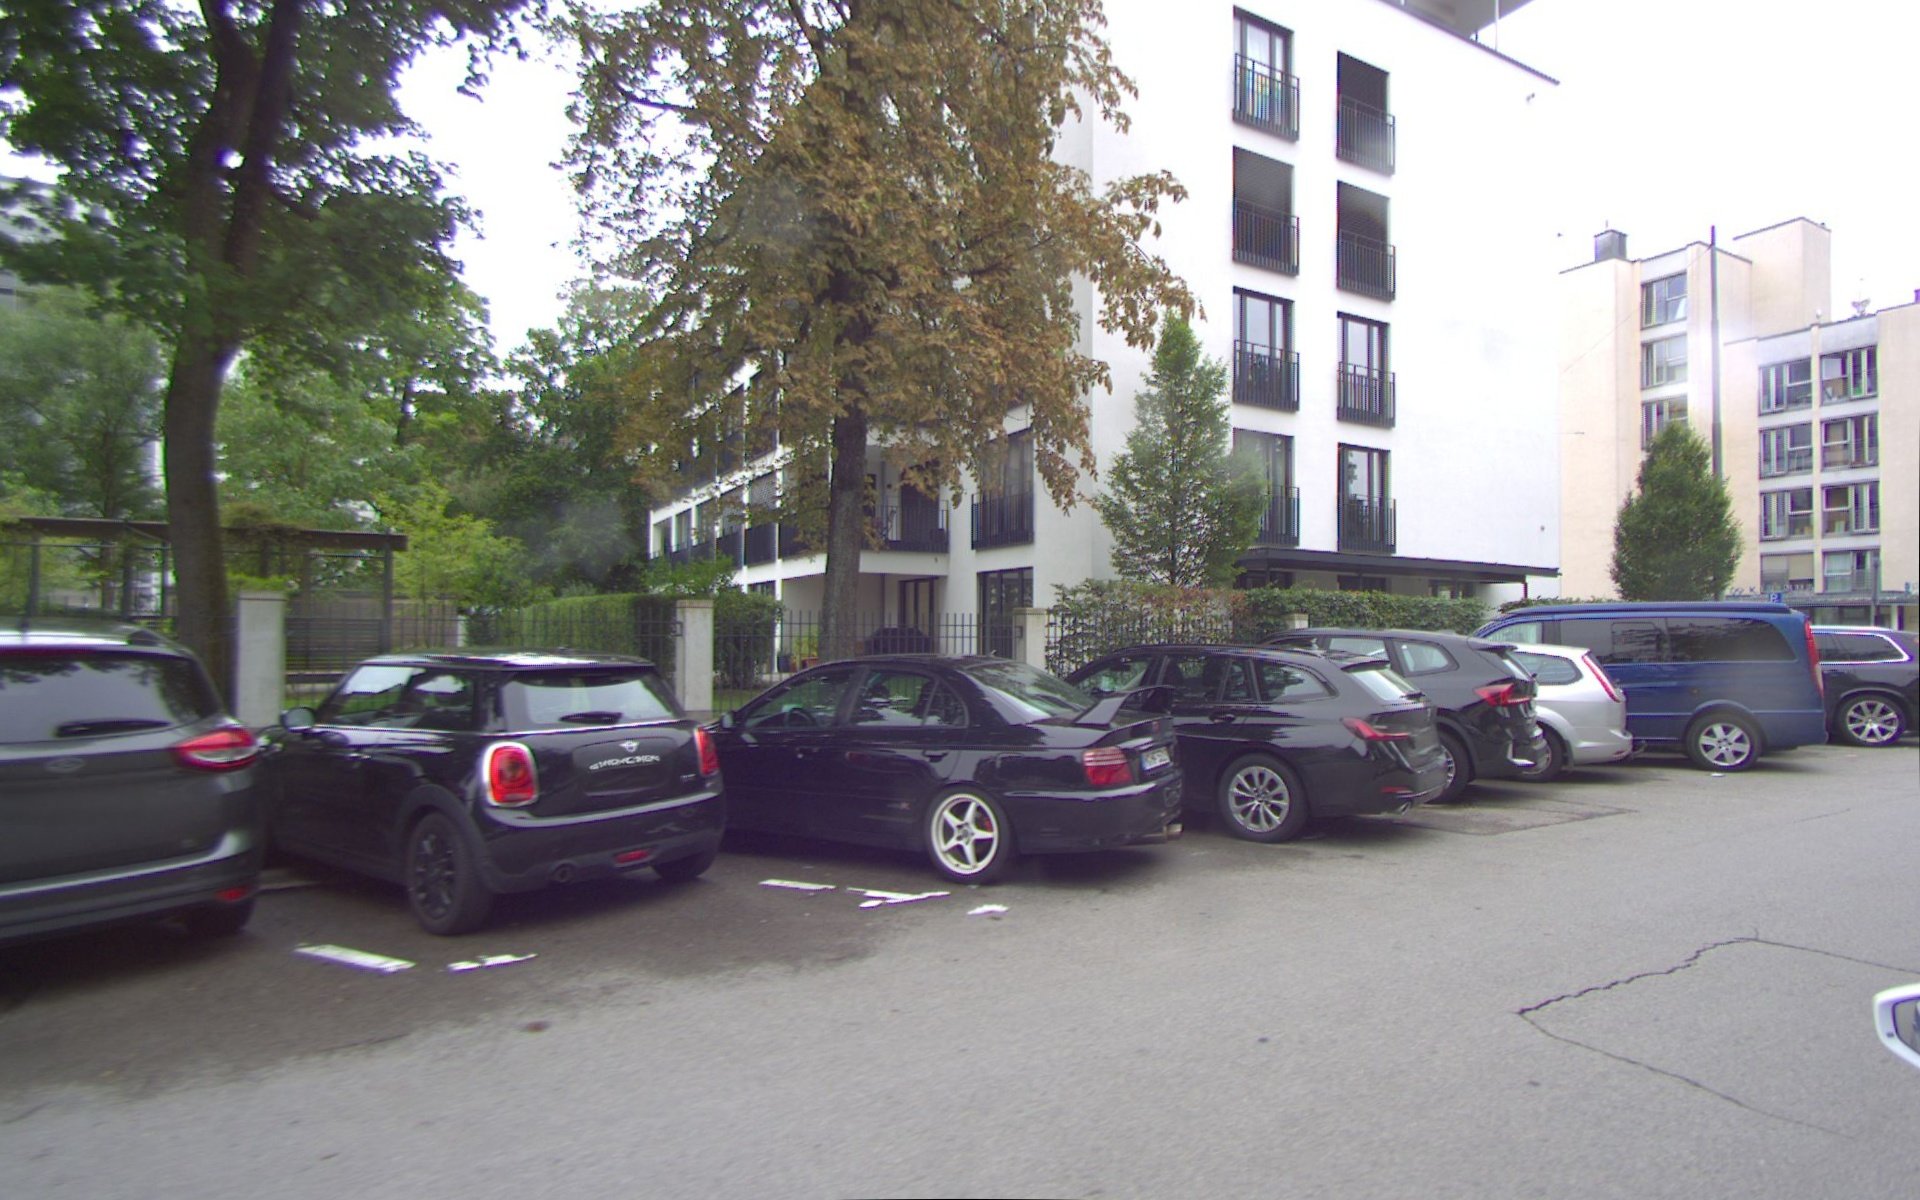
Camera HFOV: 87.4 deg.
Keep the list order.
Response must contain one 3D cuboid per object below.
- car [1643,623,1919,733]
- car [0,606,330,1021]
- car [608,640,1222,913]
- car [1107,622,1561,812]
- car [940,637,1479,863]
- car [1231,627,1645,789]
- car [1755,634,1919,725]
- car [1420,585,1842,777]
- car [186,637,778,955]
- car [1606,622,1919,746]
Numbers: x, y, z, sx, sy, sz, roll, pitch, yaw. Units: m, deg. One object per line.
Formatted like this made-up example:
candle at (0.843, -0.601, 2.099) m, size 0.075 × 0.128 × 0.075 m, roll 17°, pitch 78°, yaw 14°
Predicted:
car at (14.281, 1.315, 17.221) m, size 4.046 × 1.730 × 1.734 m, roll -2°, pitch -3°, yaw 30°
car at (-5.297, 0.891, 5.344) m, size 4.150 × 1.619 × 1.880 m, roll -2°, pitch -3°, yaw 36°
car at (-0.415, 1.070, 7.254) m, size 4.143 × 1.480 × 1.734 m, roll -2°, pitch -3°, yaw 30°
car at (3.807, 1.124, 10.541) m, size 4.148 × 1.630 × 1.732 m, roll -3°, pitch -4°, yaw 35°
car at (1.963, 1.108, 8.628) m, size 4.154 × 1.480 × 1.730 m, roll -3°, pitch -4°, yaw 39°
car at (5.546, 1.199, 11.957) m, size 4.144 × 1.630 × 1.734 m, roll -3°, pitch -3°, yaw 31°
car at (17.705, 1.466, 18.864) m, size 4.045 × 1.630 × 1.735 m, roll -2°, pitch -3°, yaw 28°
car at (8.248, 0.998, 12.786) m, size 4.144 × 2.093 × 1.734 m, roll -3°, pitch -3°, yaw 31°
car at (-3.316, 0.998, 6.672) m, size 4.150 × 1.480 × 1.787 m, roll -2°, pitch -3°, yaw 36°
car at (12.510, 1.271, 15.571) m, size 4.046 × 1.730 × 1.734 m, roll -2°, pitch -3°, yaw 30°
